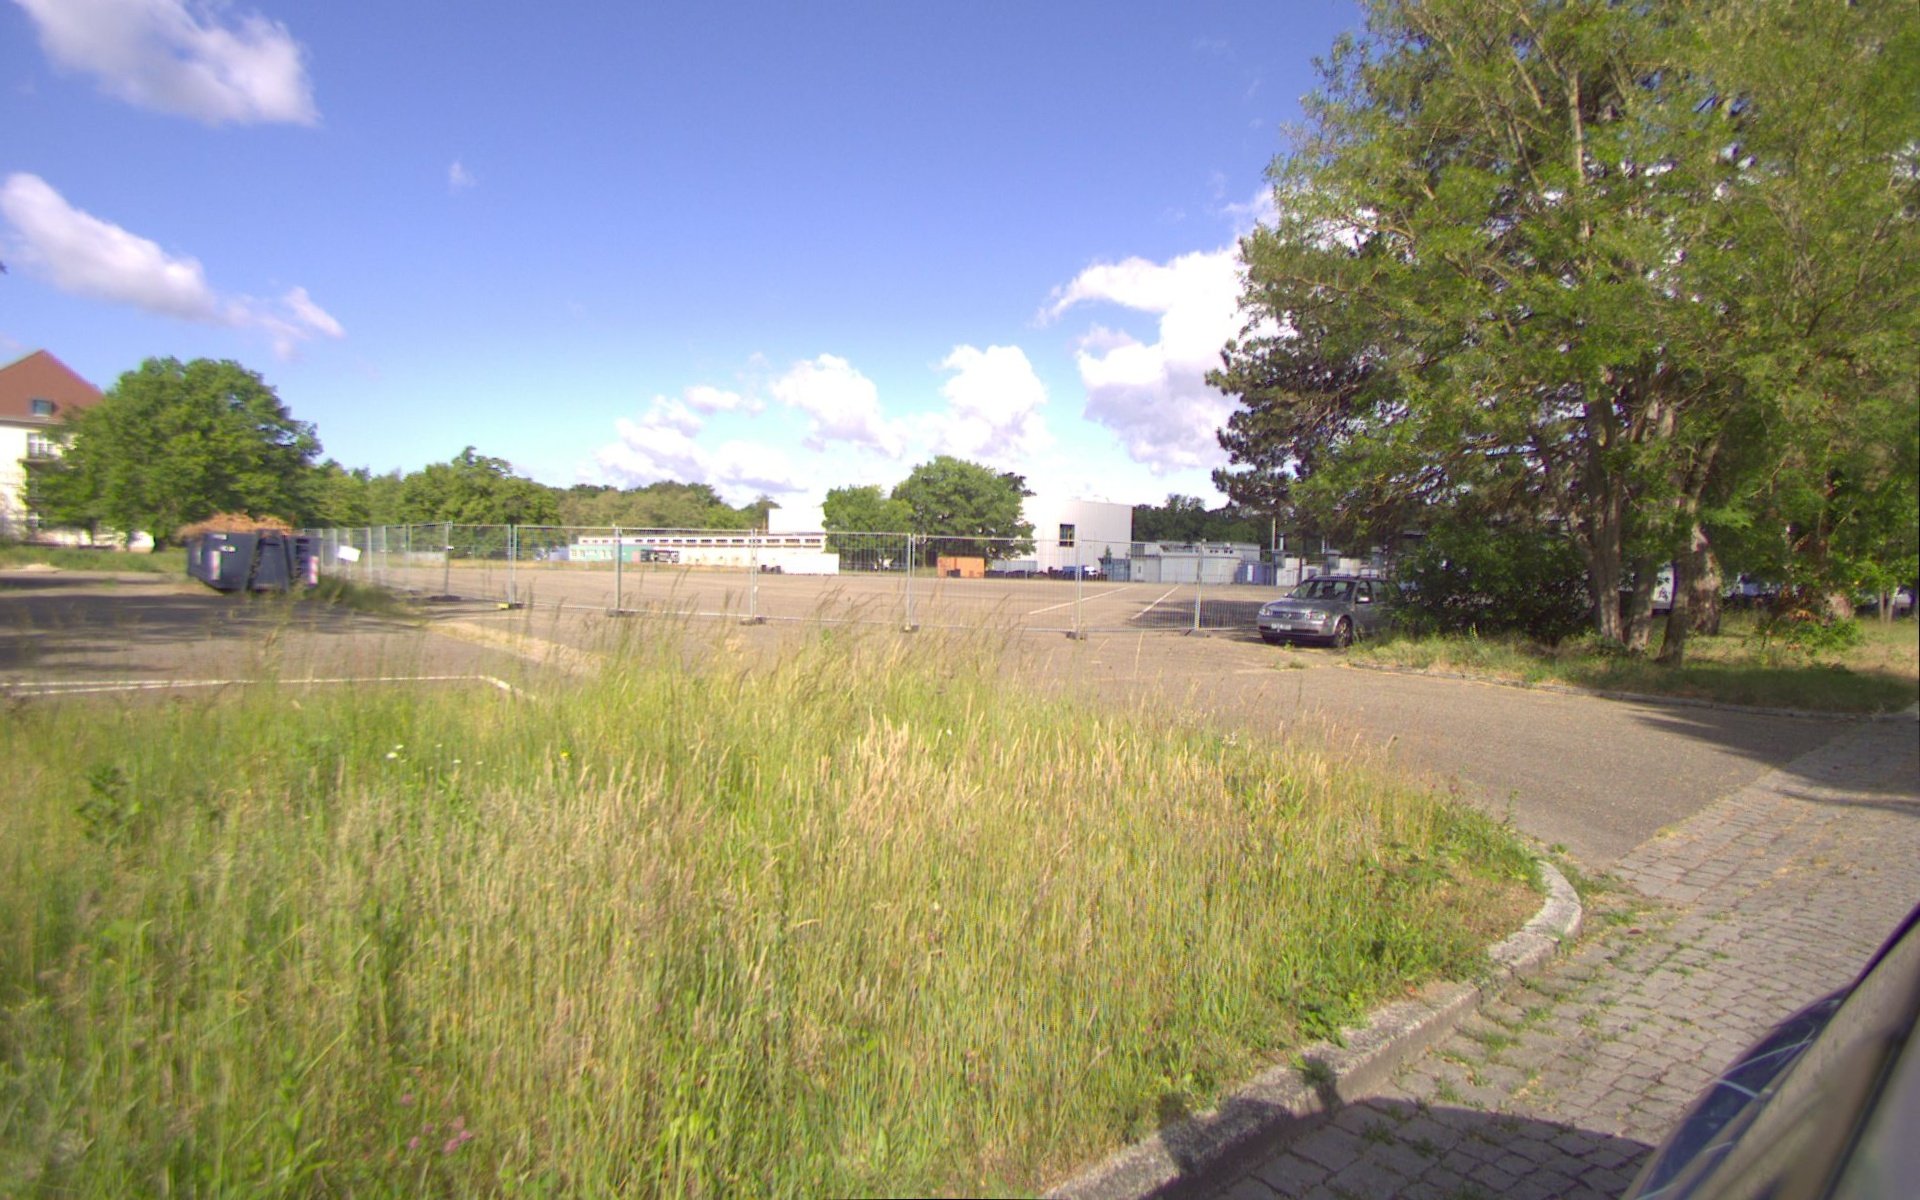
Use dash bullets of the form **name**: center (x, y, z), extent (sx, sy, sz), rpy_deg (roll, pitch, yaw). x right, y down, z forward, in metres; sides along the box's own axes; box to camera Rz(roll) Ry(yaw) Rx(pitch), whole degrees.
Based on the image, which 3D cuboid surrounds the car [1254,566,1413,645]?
- **car**: center (7.895, 0.077, 21.222), extent (3.921, 1.461, 1.576), rpy_deg (0, 3, -44)
